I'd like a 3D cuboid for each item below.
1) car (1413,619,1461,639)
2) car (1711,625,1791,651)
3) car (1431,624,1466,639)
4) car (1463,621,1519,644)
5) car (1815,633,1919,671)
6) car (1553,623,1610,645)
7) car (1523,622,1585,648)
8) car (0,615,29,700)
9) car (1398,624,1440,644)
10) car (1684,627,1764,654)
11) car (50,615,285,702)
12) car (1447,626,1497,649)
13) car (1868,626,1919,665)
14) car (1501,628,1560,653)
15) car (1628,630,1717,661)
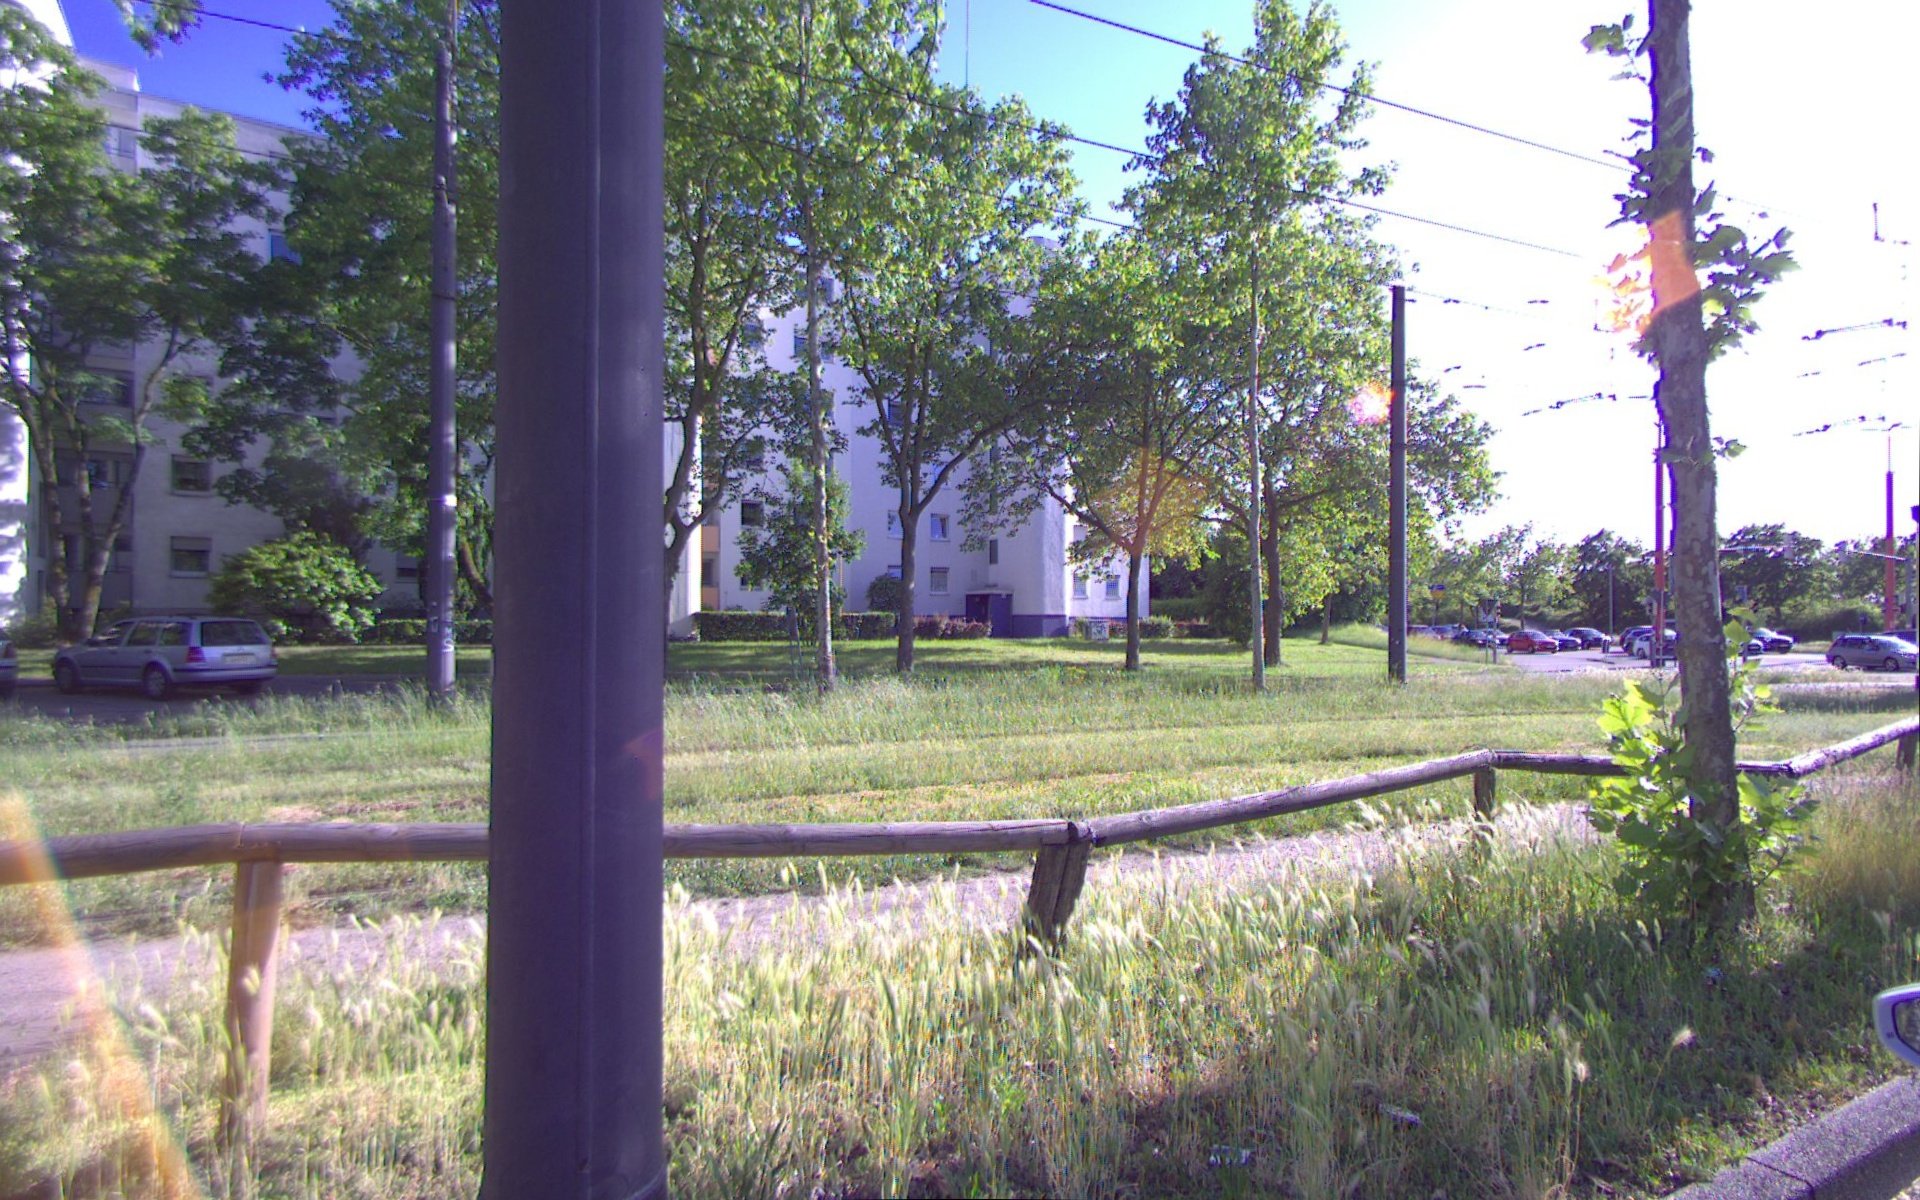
[{"bbox_3d":[41.753,2.508,88.020,1.723,1.669,4.640,1,-1,-5],"label":"car"},{"bbox_3d":[48.663,2.327,61.893,1.513,1.434,4.154,1,-1,-3],"label":"car"},{"bbox_3d":[57.462,3.703,118.125,1.625,1.647,4.673,1,-1,-3],"label":"car"},{"bbox_3d":[42.179,2.559,79.885,1.723,1.669,4.640,1,-1,-5],"label":"car"},{"bbox_3d":[39.128,2.187,43.037,1.624,1.460,3.841,1,-1,-2],"label":"car"},{"bbox_3d":[45.313,2.464,73.327,1.513,1.434,4.154,1,-1,-3],"label":"car"},{"bbox_3d":[42.356,2.481,71.731,1.721,1.669,4.644,1,-1,1],"label":"car"},{"bbox_3d":[-17.977,0.951,17.156,3.567,1.421,1.581,1,0,20],"label":"car"},{"bbox_3d":[38.547,2.806,84.396,1.624,1.540,4.200,1,-1,1],"label":"car"},{"bbox_3d":[45.585,2.397,60.060,1.513,1.434,4.154,1,-1,-3],"label":"car"},{"bbox_3d":[-14.527,1.014,18.430,3.830,1.421,1.581,1,0,20],"label":"car"},{"bbox_3d":[38.654,2.810,75.914,1.624,1.540,4.200,1,-1,1],"label":"car"},{"bbox_3d":[43.053,2.018,44.428,1.624,1.669,4.644,1,-1,1],"label":"car"},{"bbox_3d":[38.436,2.713,67.829,1.624,1.540,4.200,1,-1,1],"label":"car"},{"bbox_3d":[39.088,2.465,55.265,1.624,1.540,4.638,1,-1,1],"label":"car"}]
